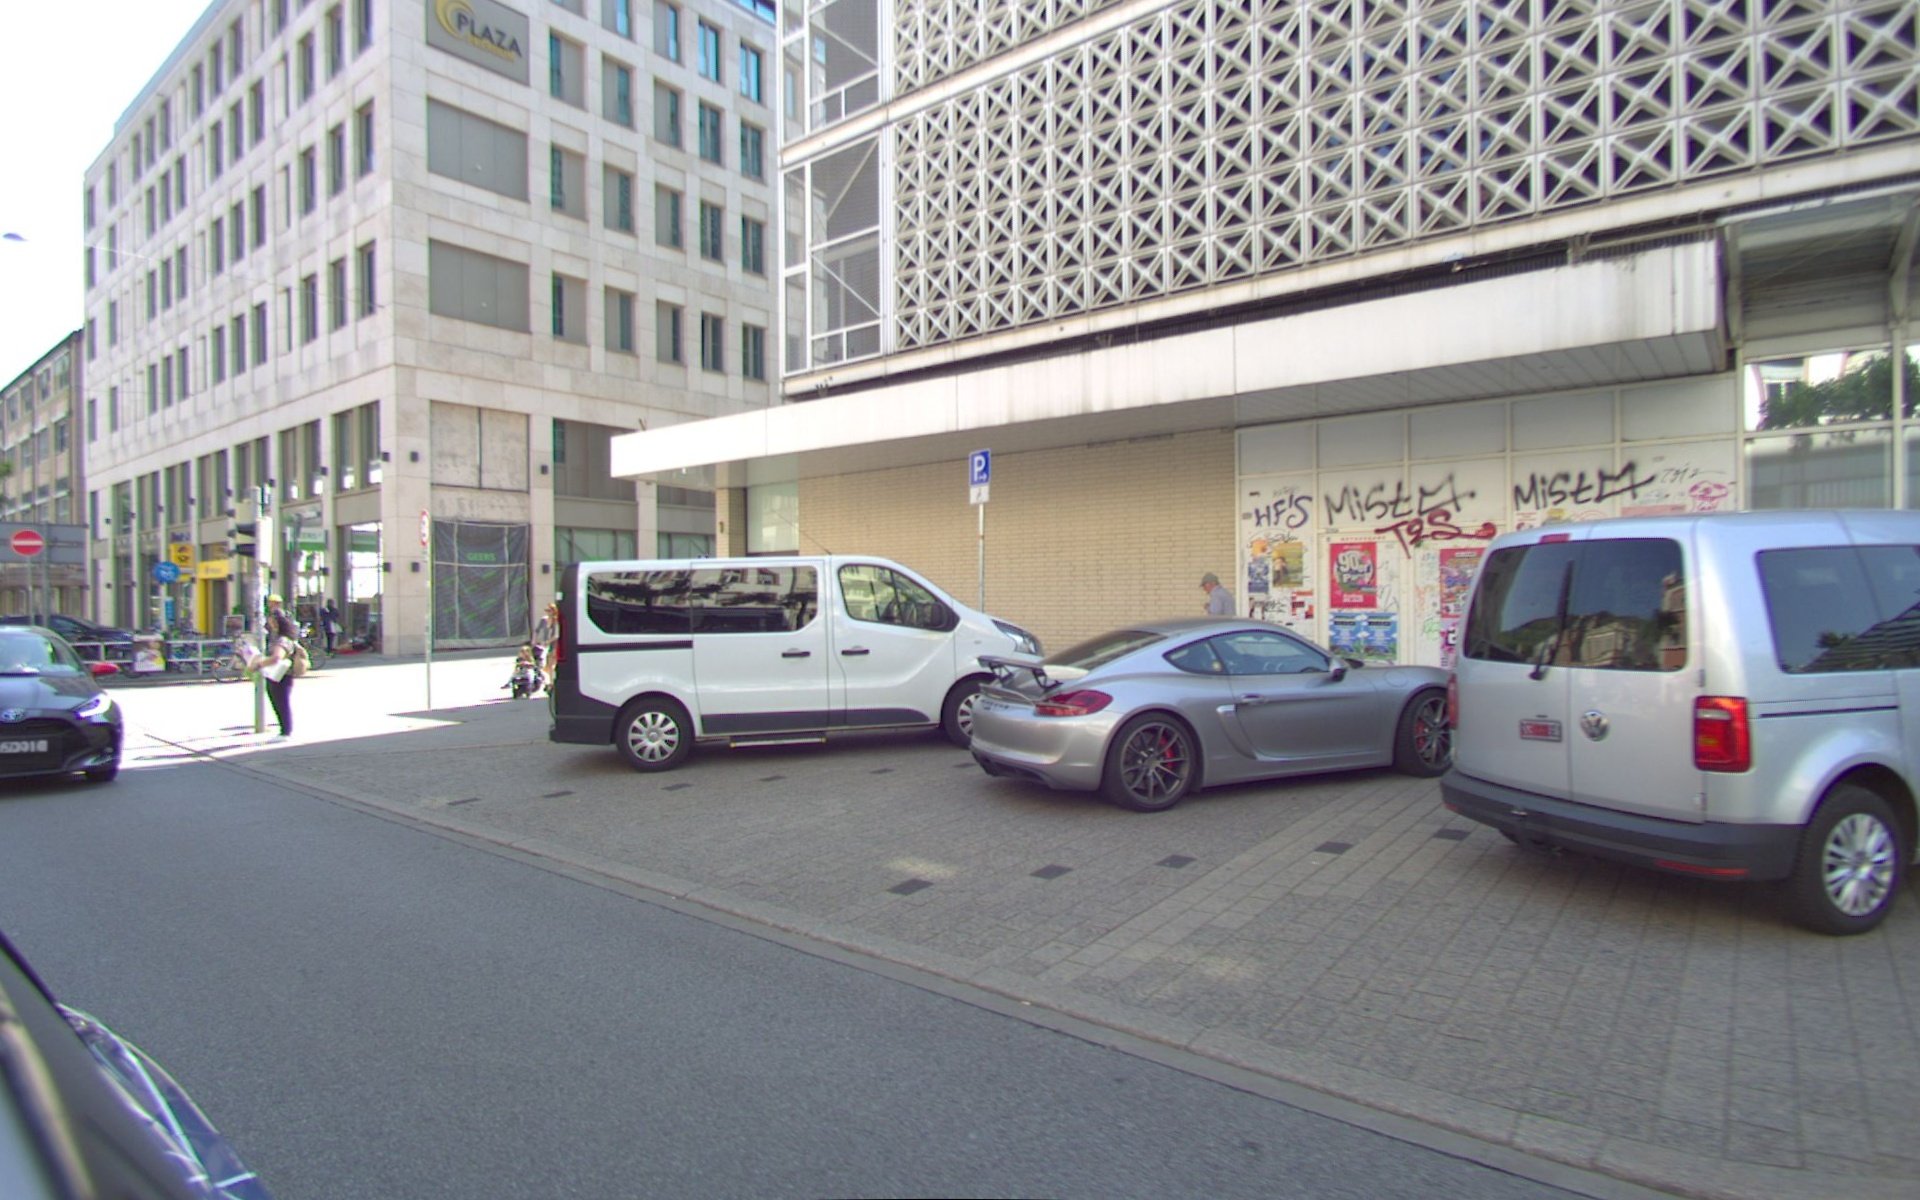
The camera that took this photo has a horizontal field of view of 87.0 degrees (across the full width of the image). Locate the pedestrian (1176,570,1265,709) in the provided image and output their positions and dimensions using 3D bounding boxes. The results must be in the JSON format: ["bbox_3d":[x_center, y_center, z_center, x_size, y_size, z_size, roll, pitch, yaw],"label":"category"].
[{"bbox_3d":[3.219,0.467,12.505,0.863,1.648,0.582,-1,0,39],"label":"pedestrian"}]

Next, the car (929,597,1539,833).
[{"bbox_3d":[2.095,0.719,7.981,4.225,1.296,1.977,-3,1,-20],"label":"car"}]

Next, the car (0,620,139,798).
[{"bbox_3d":[-9.615,0.990,9.838,4.104,1.489,1.844,-3,-4,41],"label":"car"}]

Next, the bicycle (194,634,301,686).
[{"bbox_3d":[-16.836,1.394,23.951,1.963,1.135,0.800,0,-1,-44],"label":"bicycle"}]

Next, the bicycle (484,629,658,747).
[{"bbox_3d":[-4.685,1.018,12.130,2.204,1.277,0.728,-2,0,31],"label":"bicycle"}]

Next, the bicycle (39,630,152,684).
[{"bbox_3d":[-20.511,1.336,24.028,2.032,1.182,0.606,-1,1,-6],"label":"bicycle"}]

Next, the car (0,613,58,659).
[{"bbox_3d":[-38.393,1.525,39.714,3.970,1.604,1.825,-5,3,-18],"label":"car"}]

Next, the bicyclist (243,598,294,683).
[{"bbox_3d":[-16.529,0.957,24.185,0.832,1.975,1.017,0,-1,-45],"label":"bicyclist"}]

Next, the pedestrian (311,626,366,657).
[{"bbox_3d":[-19.402,1.283,31.601,0.840,0.932,1.238,-1,-1,37],"label":"pedestrian"}]

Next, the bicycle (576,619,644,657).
[{"bbox_3d":[-11.180,1.198,32.369,0.639,1.135,2.037,3,2,39],"label":"bicycle"}]

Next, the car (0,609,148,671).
[{"bbox_3d":[-27.610,1.208,30.962,3.965,1.614,1.965,-3,2,-28],"label":"car"}]

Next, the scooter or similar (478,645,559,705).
[{"bbox_3d":[-7.811,1.316,17.916,0.895,0.972,0.967,-1,0,18],"label":"scooter or similar"}]

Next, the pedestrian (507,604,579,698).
[{"bbox_3d":[-7.744,0.943,18.807,0.835,1.671,0.839,-2,1,20],"label":"pedestrian"}]

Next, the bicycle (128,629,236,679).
[{"bbox_3d":[-19.160,1.317,24.967,2.030,1.178,0.607,0,-1,-14],"label":"bicycle"}]

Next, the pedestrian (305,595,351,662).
[{"bbox_3d":[-18.854,0.832,30.194,0.844,1.892,0.830,-1,3,39],"label":"pedestrian"}]

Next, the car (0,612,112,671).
[{"bbox_3d":[-30.389,1.366,32.936,4.109,1.648,2.105,-6,3,-43],"label":"car"}]

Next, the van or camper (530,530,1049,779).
[{"bbox_3d":[-1.642,0.444,10.200,4.584,2.029,2.005,-2,0,-11],"label":"van or camper"}]

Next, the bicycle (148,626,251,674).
[{"bbox_3d":[-19.641,1.285,26.194,2.029,1.135,0.649,-1,0,-25],"label":"bicycle"}]

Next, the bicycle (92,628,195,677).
[{"bbox_3d":[-21.624,1.369,26.847,2.029,1.135,0.564,-3,0,-26],"label":"bicycle"}]

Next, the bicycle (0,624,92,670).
[{"bbox_3d":[-25.601,1.299,28.143,0.484,1.135,2.119,-3,0,40],"label":"bicycle"}]

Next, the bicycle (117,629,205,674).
[{"bbox_3d":[-22.306,1.424,28.277,1.834,1.135,0.486,-3,0,-27],"label":"bicycle"}]

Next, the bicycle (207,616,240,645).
[{"bbox_3d":[-28.966,1.201,39.782,2.159,1.115,0.491,-1,1,39],"label":"bicycle"}]

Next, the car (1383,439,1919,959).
[{"bbox_3d":[4.779,0.325,5.253,4.371,1.924,2.015,-1,-1,-14],"label":"car"}]

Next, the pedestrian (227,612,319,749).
[{"bbox_3d":[-8.316,0.954,12.263,0.677,1.571,0.635,-2,0,27],"label":"pedestrian"}]

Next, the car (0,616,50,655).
[{"bbox_3d":[-41.015,1.614,42.043,4.426,1.443,1.868,-6,4,-31],"label":"car"}]

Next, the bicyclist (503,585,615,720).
[{"bbox_3d":[-4.848,0.613,12.233,1.073,1.551,0.728,-2,0,31],"label":"bicyclist"}]

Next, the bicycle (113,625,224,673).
[{"bbox_3d":[-21.630,1.330,27.711,2.289,1.135,0.564,-3,1,-26],"label":"bicycle"}]
